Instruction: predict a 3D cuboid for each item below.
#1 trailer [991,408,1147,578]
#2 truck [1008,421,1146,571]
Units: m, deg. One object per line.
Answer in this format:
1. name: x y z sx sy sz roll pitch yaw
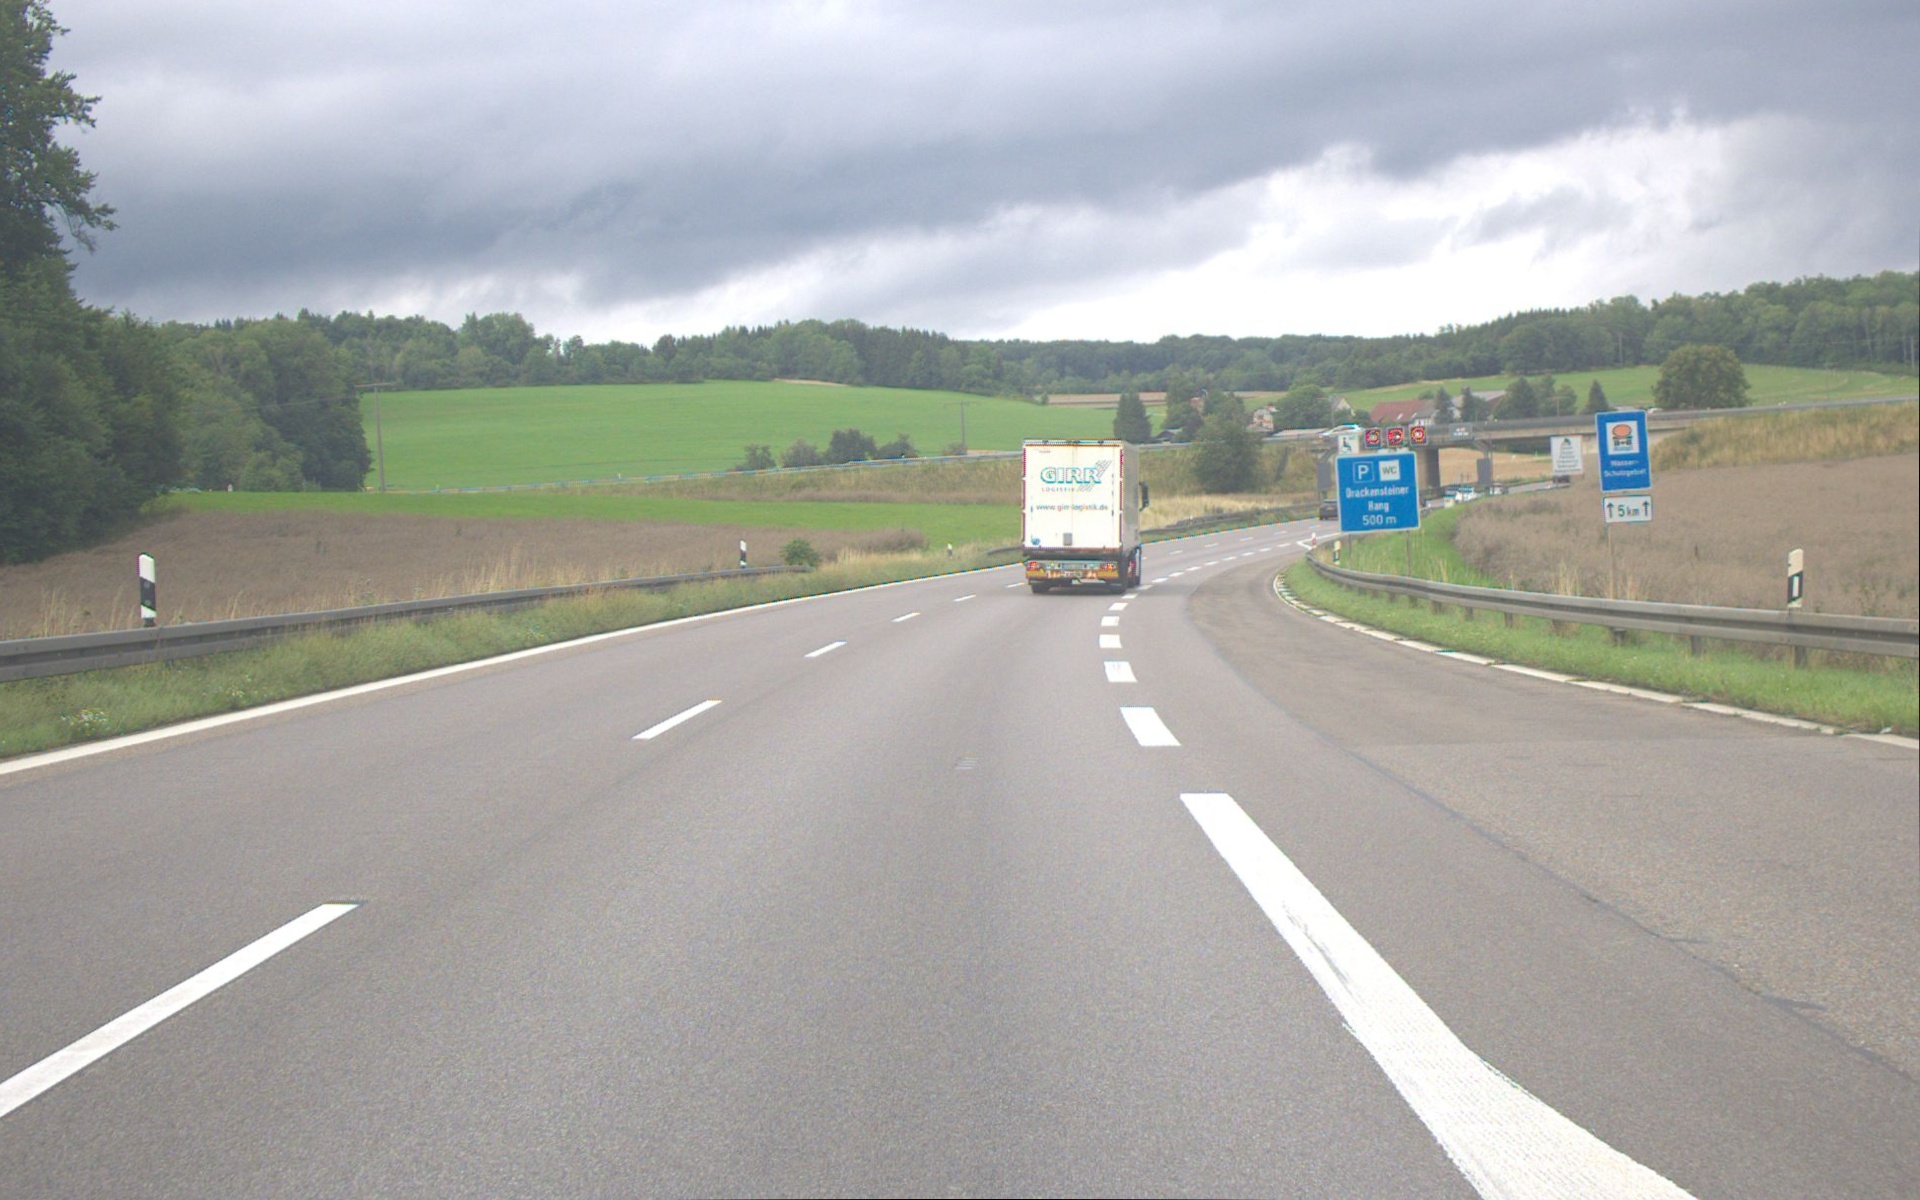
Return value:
1. trailer: 3.084 -2.840 93.330 3.806 4.160 14.807 -1 1 3
2. truck: 3.417 -2.971 100.045 3.788 4.118 8.264 -1 1 2
